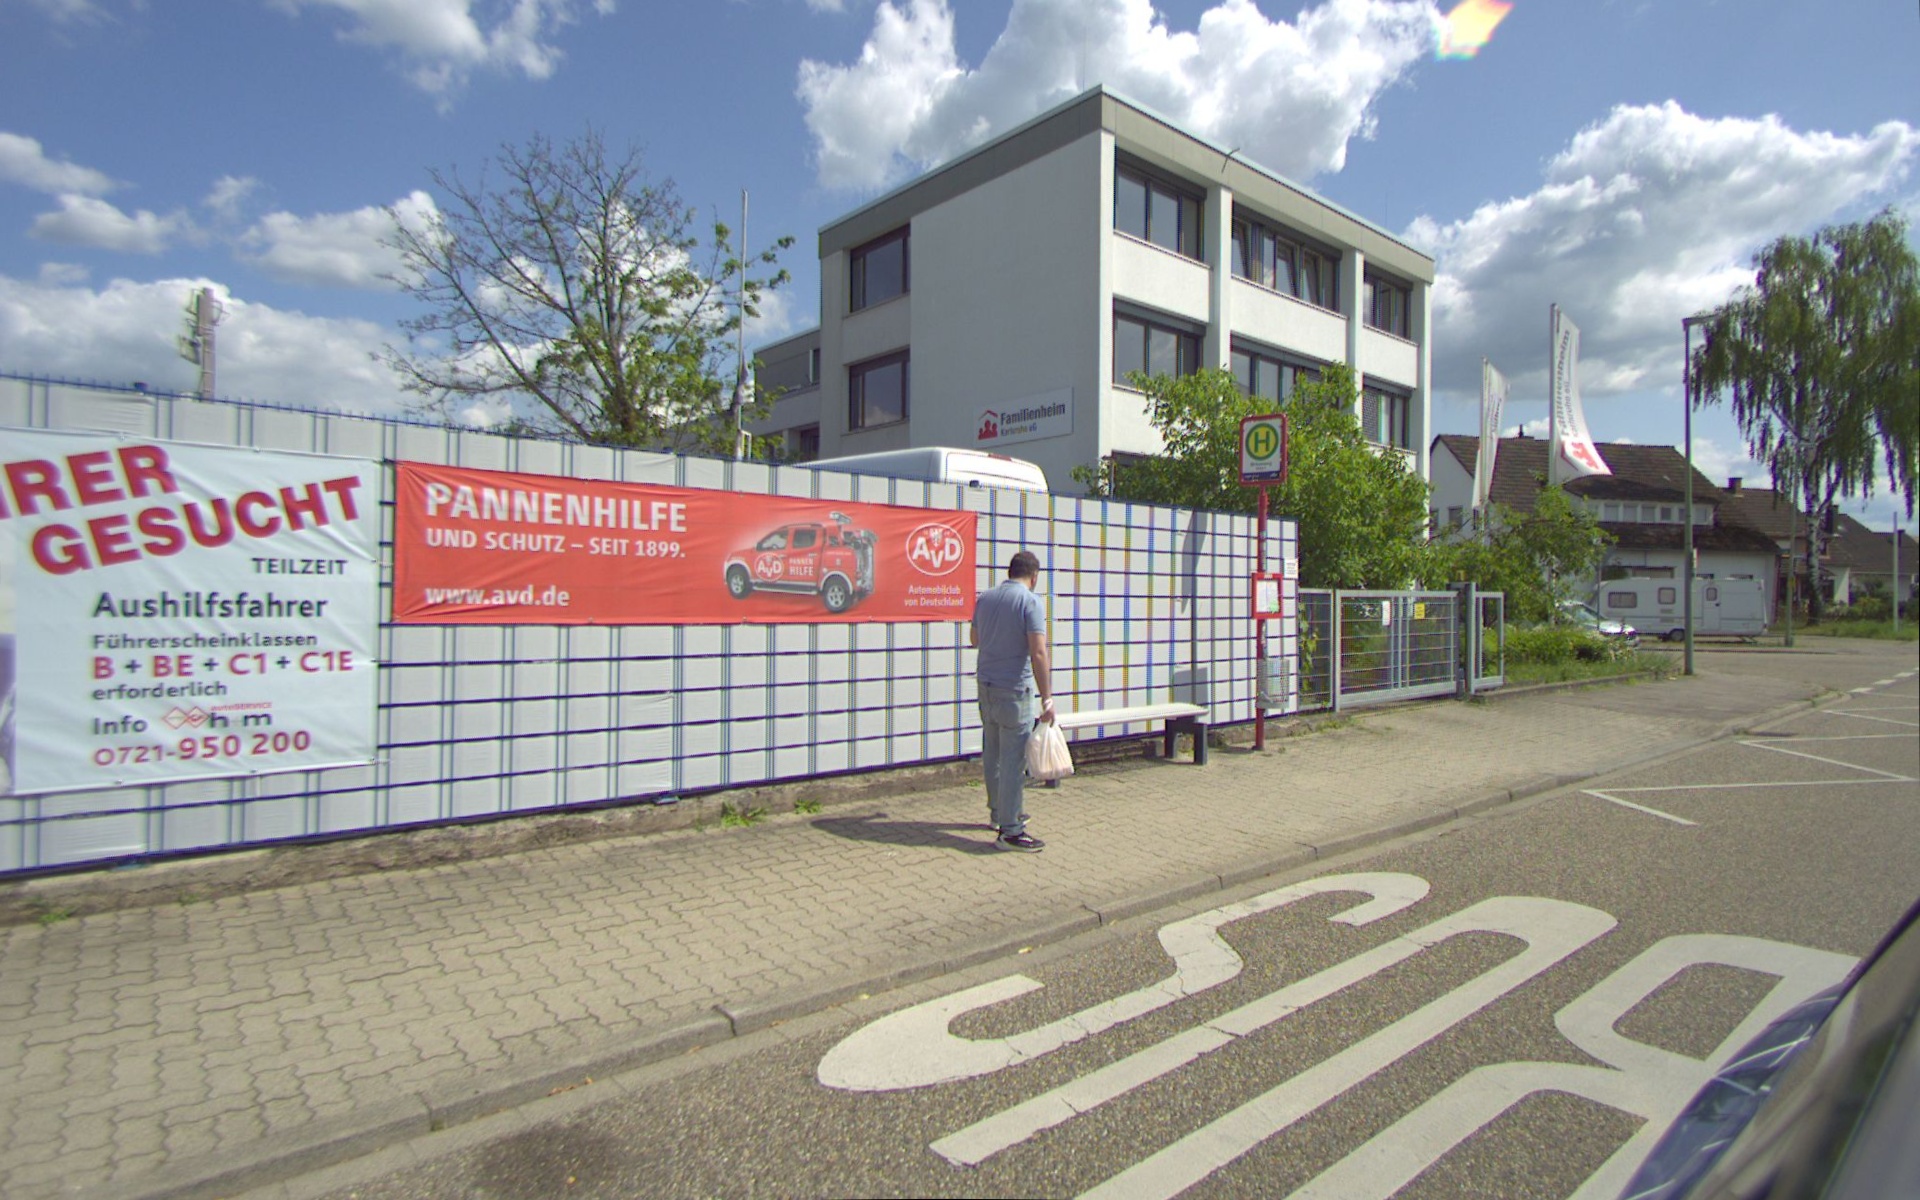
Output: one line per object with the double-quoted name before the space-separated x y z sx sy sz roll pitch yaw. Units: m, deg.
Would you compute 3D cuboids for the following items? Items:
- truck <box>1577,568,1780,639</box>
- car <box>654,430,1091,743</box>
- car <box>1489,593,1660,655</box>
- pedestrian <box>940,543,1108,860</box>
"truck" 27.824 0.136 39.527 5.994 2.610 2.545 0 -1 24
"car" -1.161 -0.138 11.119 4.905 2.685 2.041 1 0 43
"car" 19.201 0.691 31.864 1.826 1.774 4.418 0 1 -21
"pedestrian" 0.369 0.552 6.004 0.514 1.717 0.716 1 5 -44
